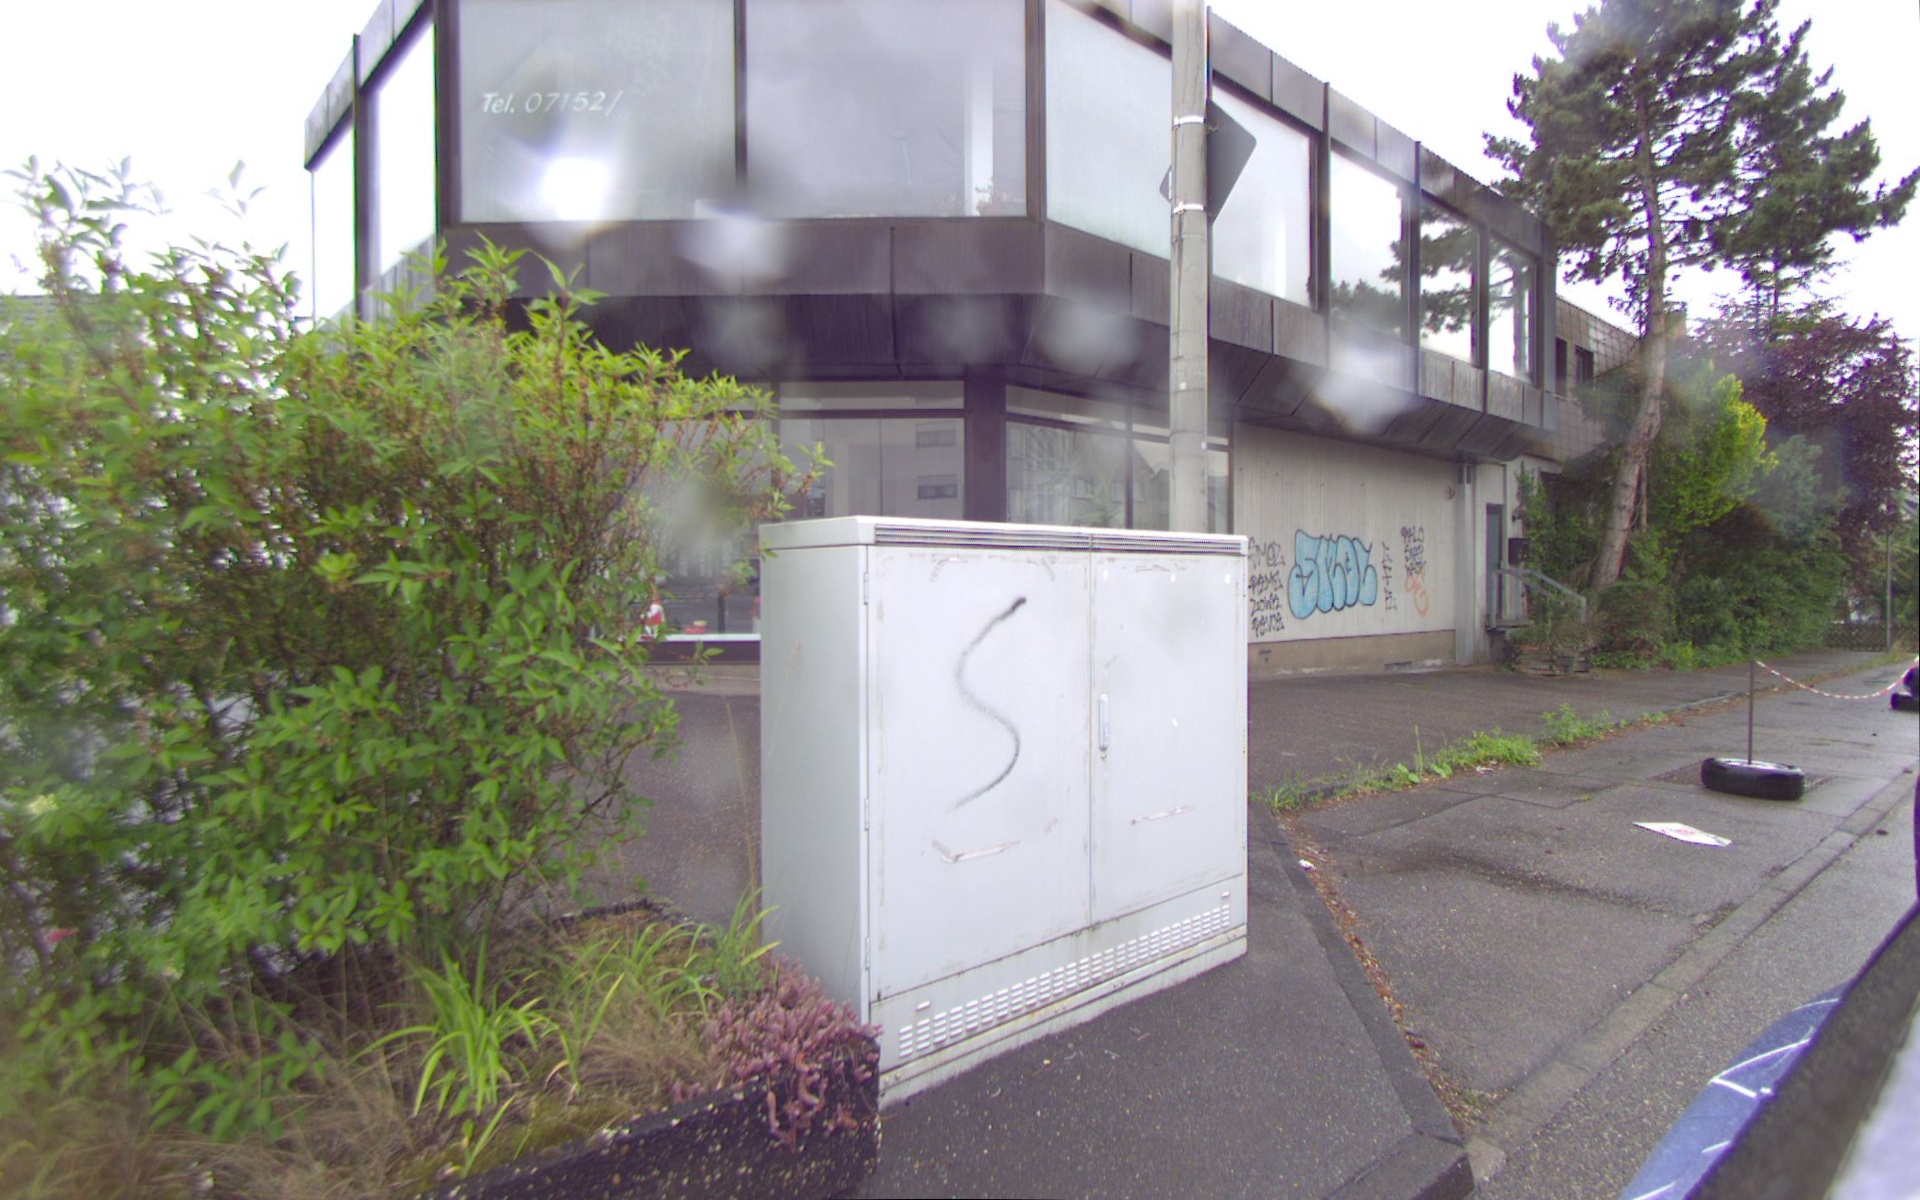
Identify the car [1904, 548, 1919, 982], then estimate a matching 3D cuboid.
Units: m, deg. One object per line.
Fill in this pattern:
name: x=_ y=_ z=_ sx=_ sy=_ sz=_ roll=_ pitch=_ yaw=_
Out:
car: x=5.734 y=0.591 z=4.510 sx=4.595 sy=1.562 sz=1.753 roll=-1 pitch=1 yaw=-41
